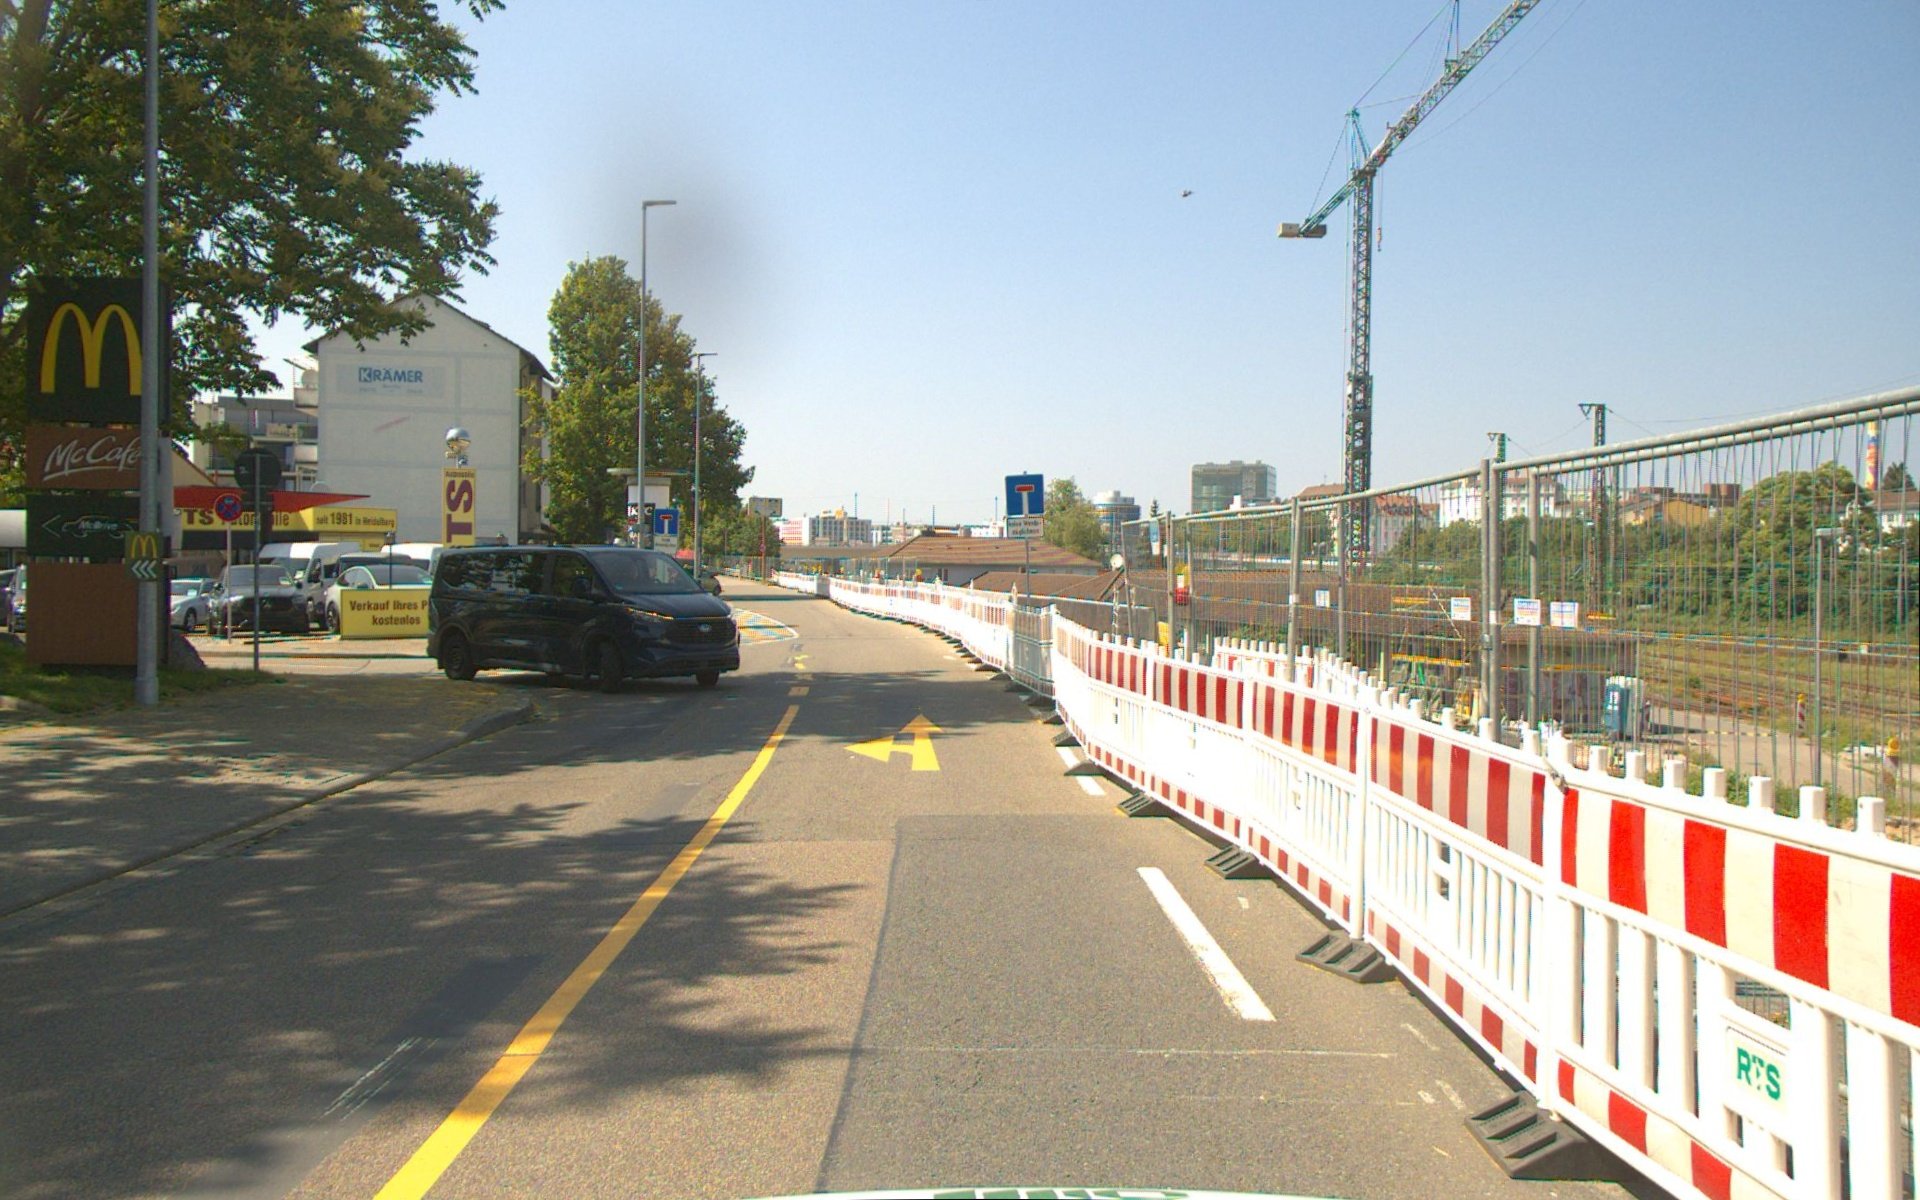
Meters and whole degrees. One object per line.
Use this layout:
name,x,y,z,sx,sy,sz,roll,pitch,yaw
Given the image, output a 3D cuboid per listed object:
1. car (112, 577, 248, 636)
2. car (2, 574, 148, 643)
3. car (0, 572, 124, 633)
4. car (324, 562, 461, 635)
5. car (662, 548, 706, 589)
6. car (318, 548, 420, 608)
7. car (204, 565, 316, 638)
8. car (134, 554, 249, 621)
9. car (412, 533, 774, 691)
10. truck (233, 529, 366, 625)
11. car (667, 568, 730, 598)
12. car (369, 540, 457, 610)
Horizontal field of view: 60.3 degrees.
car,-21.546,0.174,45.862,1.751,1.513,4.001,1,0,2
car,-21.291,0.193,39.976,1.754,1.536,3.994,1,0,-7
car,-25.495,0.066,45.227,4.302,1.612,1.968,1,0,-44
car,-14.424,-0.038,41.906,1.982,1.756,3.942,1,0,-40
car,-18.174,-2.069,109.249,2.489,2.564,5.111,1,0,-6
car,-18.662,-0.688,52.435,1.841,1.768,4.717,2,0,-5
car,-16.838,0.023,39.679,2.024,1.622,4.381,1,0,-29
car,-24.887,-0.382,53.735,1.955,2.049,4.490,1,0,-6
car,-5.350,0.137,23.725,5.340,2.002,2.174,-1,2,39
truck,-21.705,-0.751,54.686,2.224,2.954,5.939,2,0,-3
car,-15.106,-0.995,95.552,1.696,1.666,3.260,1,0,42
car,-19.257,-0.873,58.442,2.095,2.324,4.703,1,1,-8
